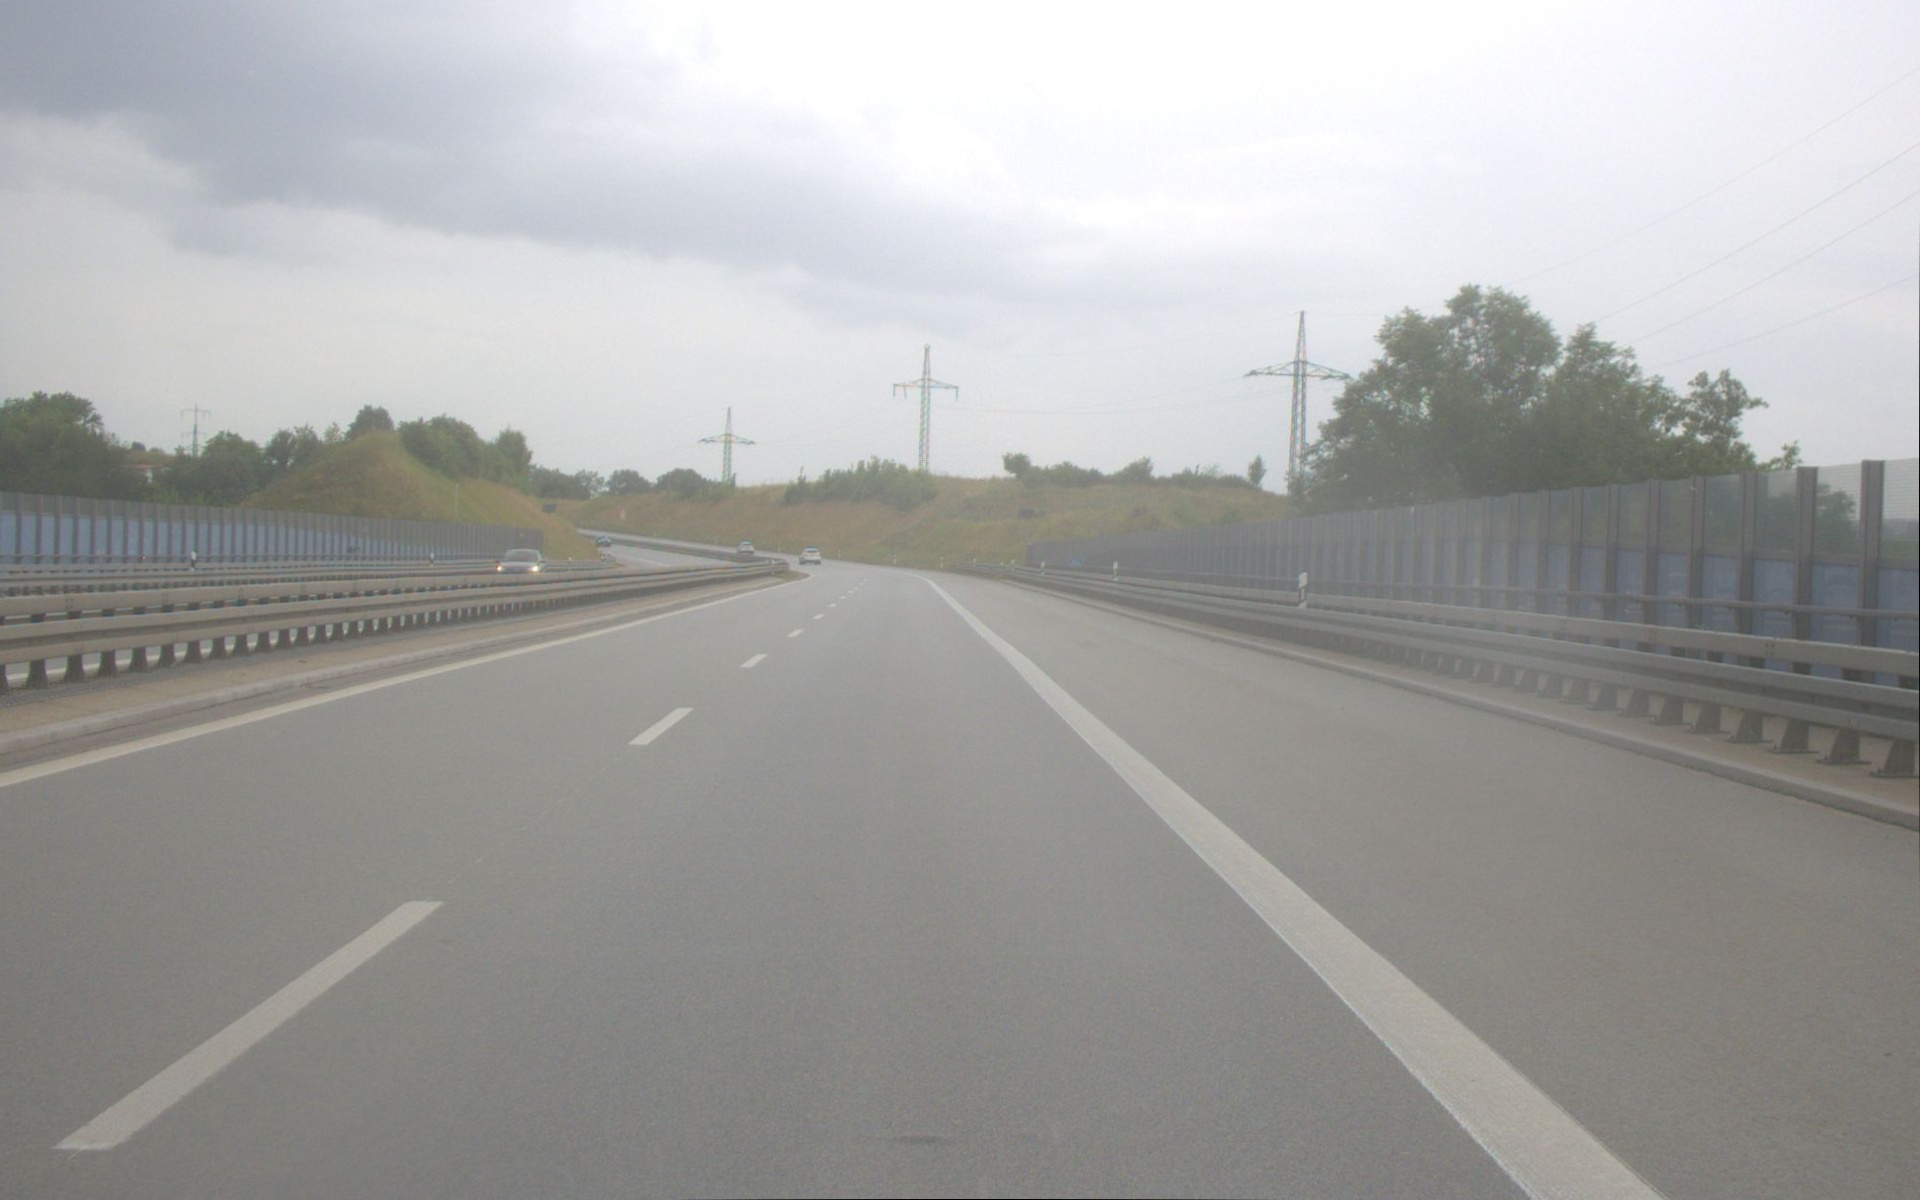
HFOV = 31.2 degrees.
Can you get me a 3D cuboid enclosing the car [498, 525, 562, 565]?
[{"bbox_3d":[-16.778,-2.144,134.296,1.993,1.510,4.288,1,1,-1],"label":"car"}]
